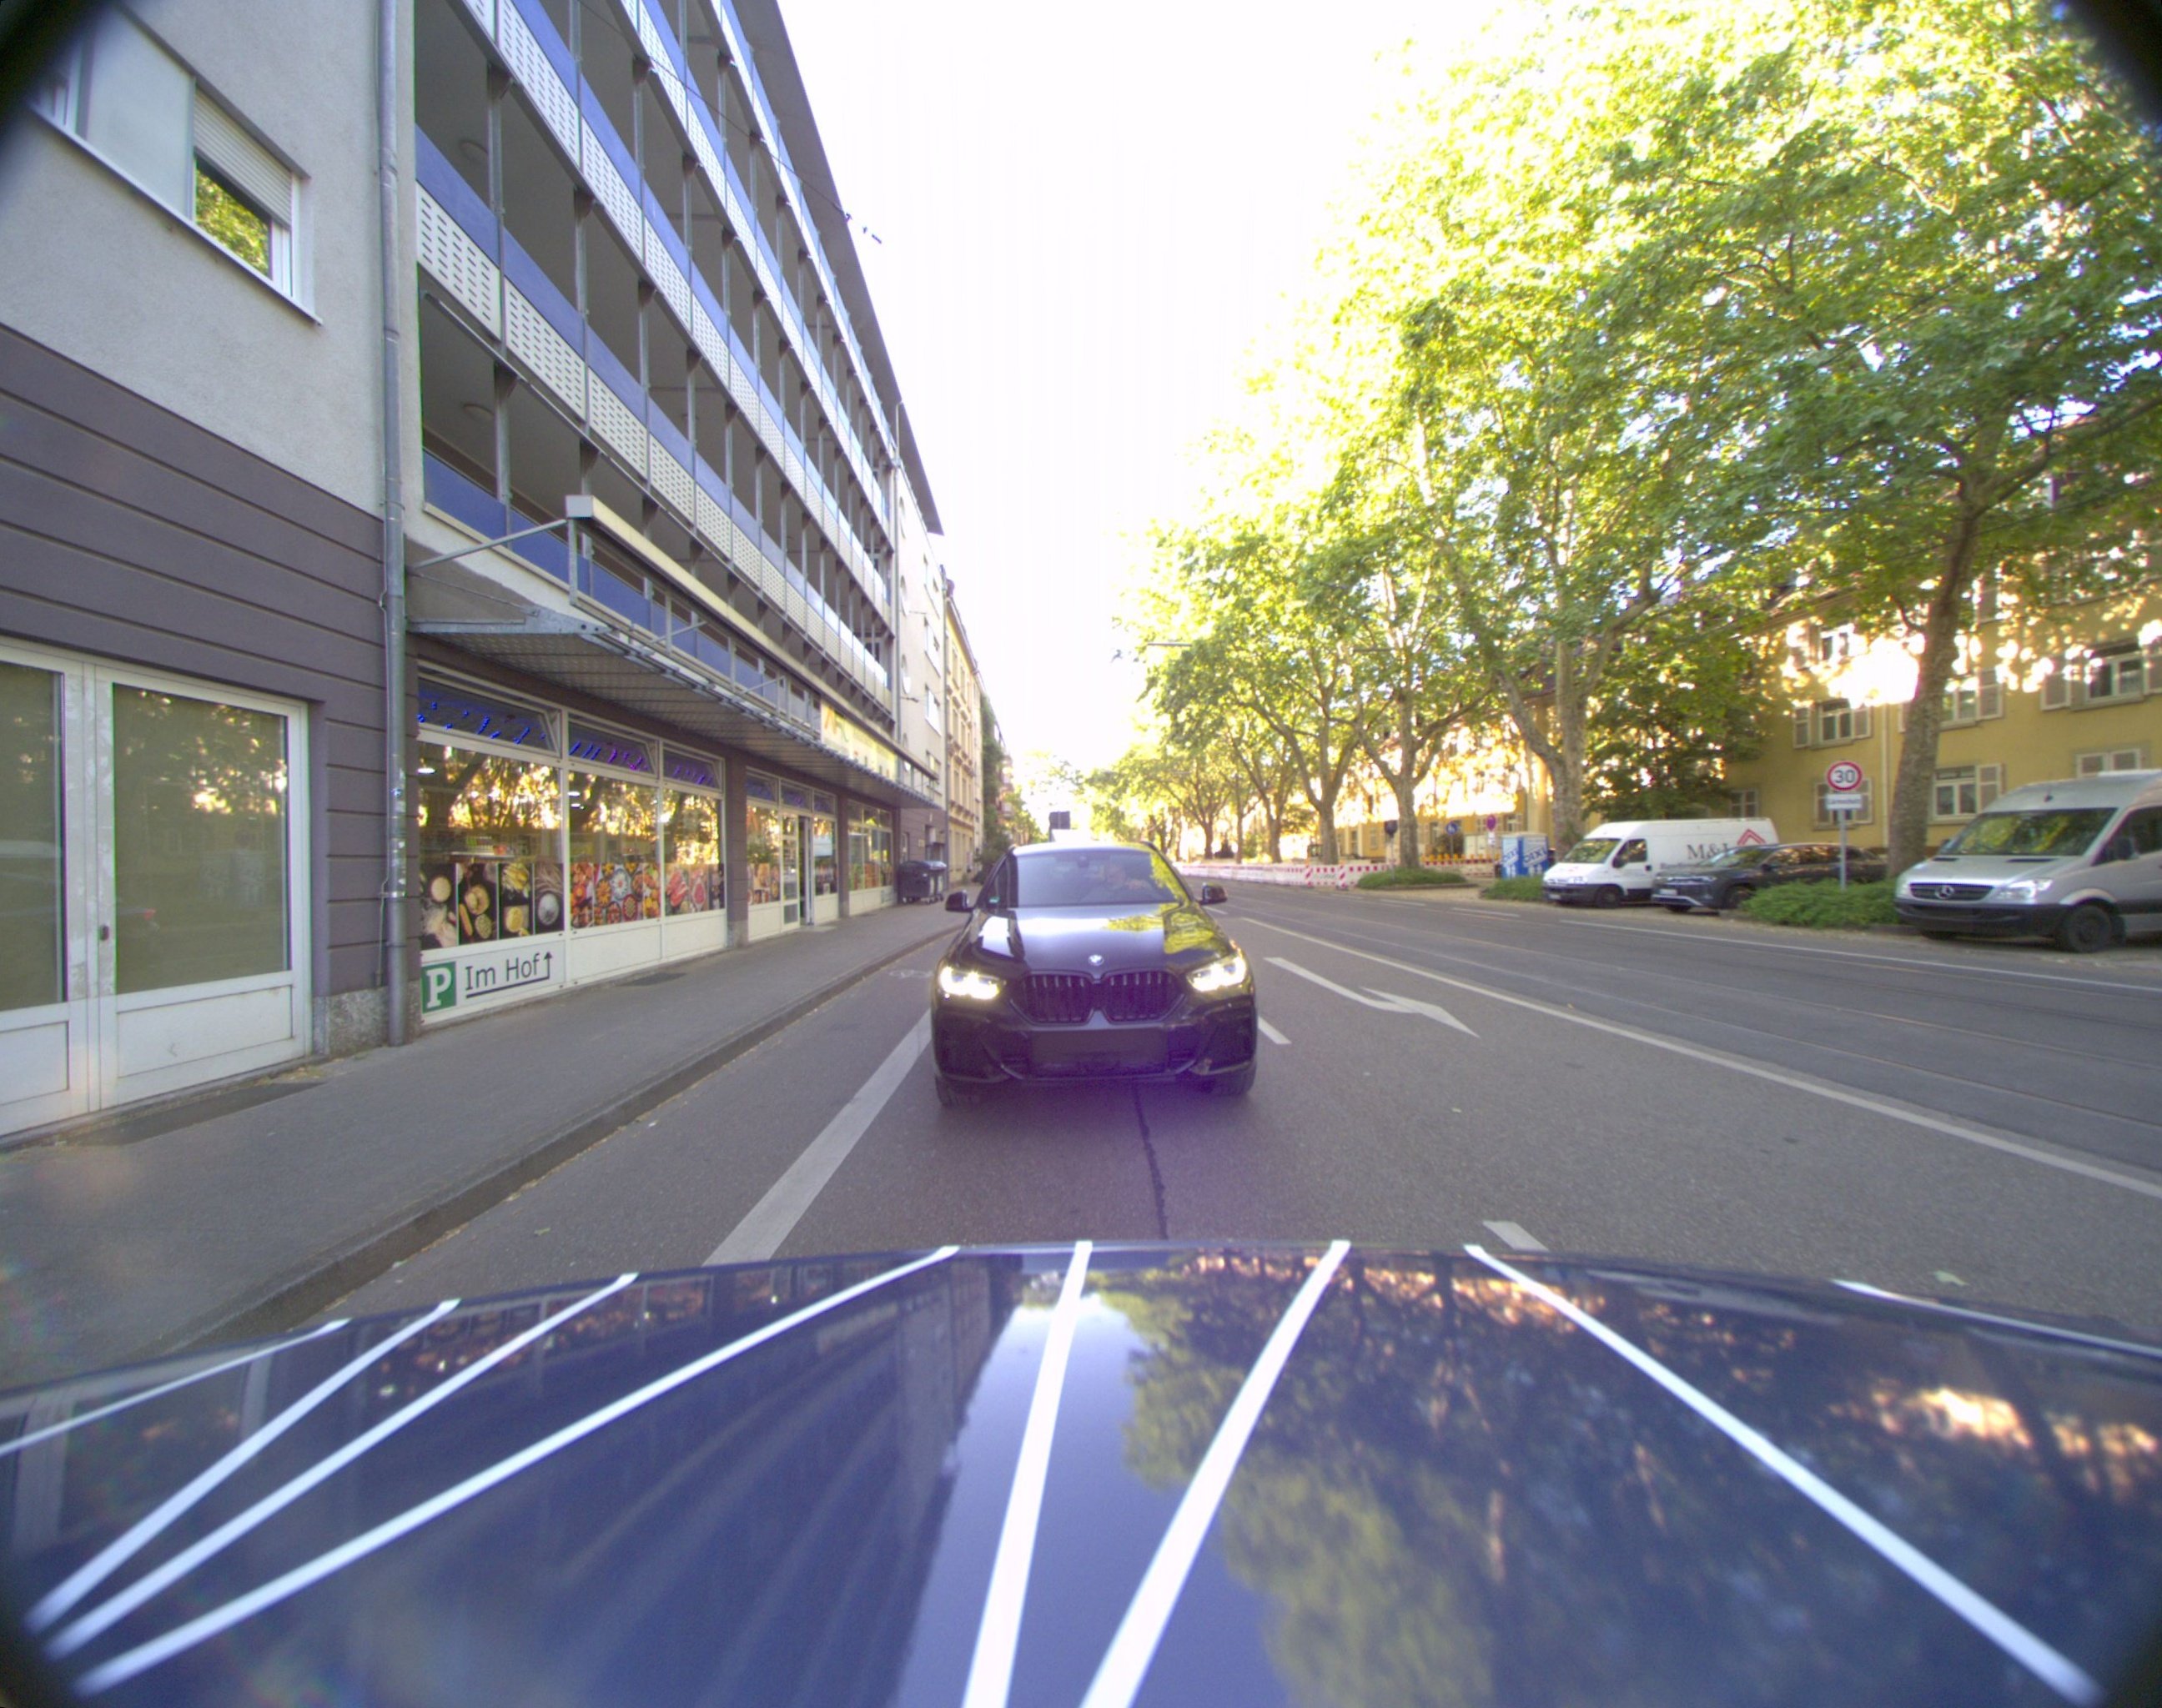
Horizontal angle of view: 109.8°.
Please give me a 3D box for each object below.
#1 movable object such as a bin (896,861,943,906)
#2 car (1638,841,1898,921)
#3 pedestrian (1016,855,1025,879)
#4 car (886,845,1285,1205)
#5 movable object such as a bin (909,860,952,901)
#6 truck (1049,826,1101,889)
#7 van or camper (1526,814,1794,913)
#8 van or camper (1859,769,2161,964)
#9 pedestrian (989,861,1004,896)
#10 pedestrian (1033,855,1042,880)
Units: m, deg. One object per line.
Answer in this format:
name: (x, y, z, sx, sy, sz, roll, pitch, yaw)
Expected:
movable object such as a bin: (-5.261, 0.944, 24.820, 1.203, 1.402, 1.372, -1, 0, 1)
car: (15.990, 0.605, 17.848, 4.540, 1.624, 1.693, -2, 1, 1)
pedestrian: (-4.297, 0.898, 53.815, 0.541, 1.662, 0.513, -1, 0, 1)
car: (0.063, 0.835, 6.139, 1.930, 1.742, 4.683, -2, 1, 1)
movable object such as a bin: (-5.286, 0.922, 26.820, 1.203, 1.402, 1.372, -1, 0, 1)
truck: (-0.405, 0.177, 41.006, 2.344, 3.095, 5.210, -2, 1, -4)
van or camper: (15.868, 0.242, 21.059, 5.763, 2.371, 2.156, -2, 1, 0)
van or camper: (16.001, 0.086, 11.652, 5.931, 2.633, 2.156, -2, 1, 0)
pedestrian: (-3.562, 1.021, 32.175, 0.541, 1.437, 0.630, -1, 0, 1)
pedestrian: (-3.035, 0.933, 52.645, 0.541, 1.662, 0.630, -1, 0, 1)
